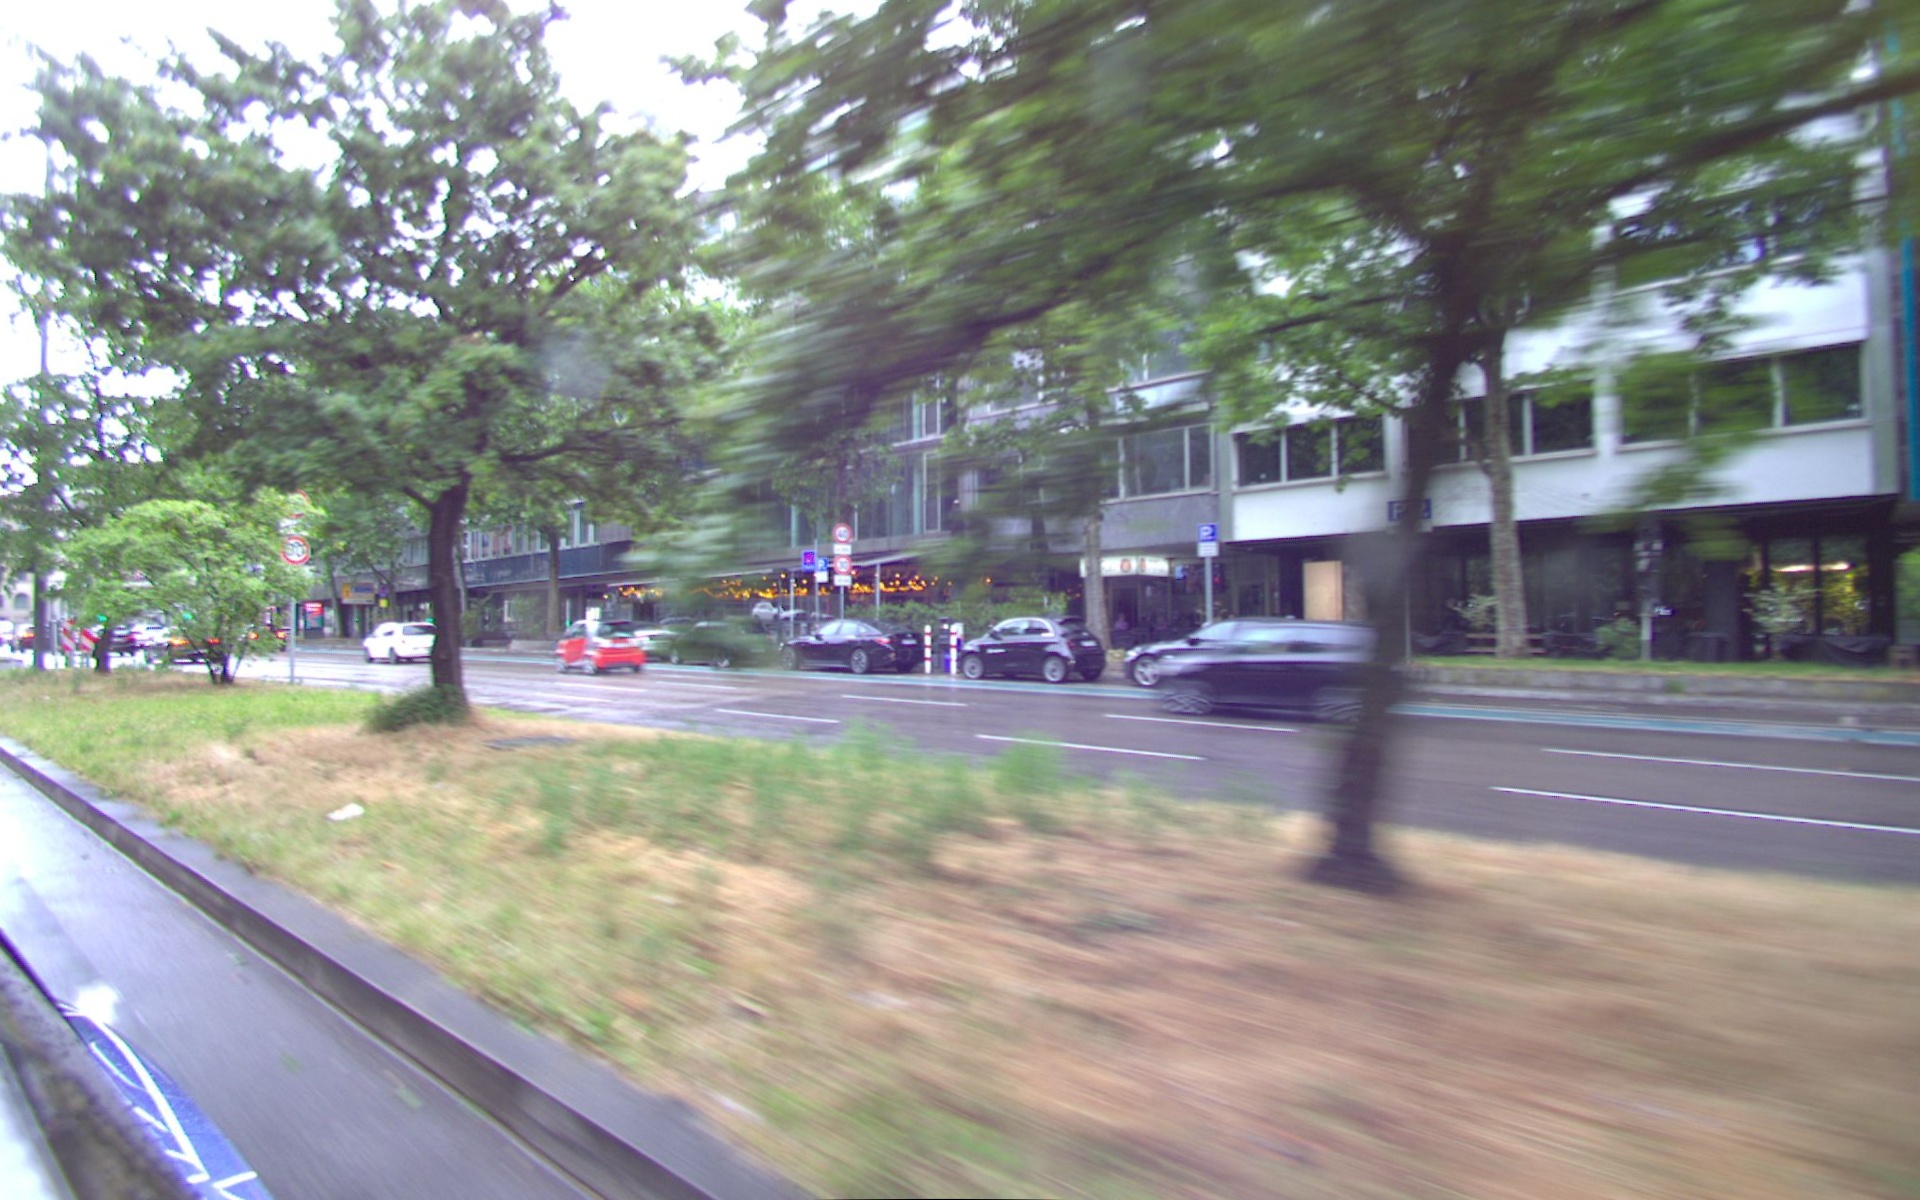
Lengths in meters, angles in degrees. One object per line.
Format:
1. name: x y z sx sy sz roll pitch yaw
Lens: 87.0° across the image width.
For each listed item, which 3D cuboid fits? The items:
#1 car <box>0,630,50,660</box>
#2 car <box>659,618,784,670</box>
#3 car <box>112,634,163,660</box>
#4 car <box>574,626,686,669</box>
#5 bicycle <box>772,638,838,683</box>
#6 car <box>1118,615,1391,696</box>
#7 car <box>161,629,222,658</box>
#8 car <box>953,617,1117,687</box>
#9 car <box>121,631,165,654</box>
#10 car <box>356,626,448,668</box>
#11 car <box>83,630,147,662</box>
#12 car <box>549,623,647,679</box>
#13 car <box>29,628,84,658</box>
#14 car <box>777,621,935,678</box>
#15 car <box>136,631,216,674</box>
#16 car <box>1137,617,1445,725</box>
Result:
1. car: -58.654 2.839 63.274 5.103 1.780 1.817 -2 -2 39
2. car: -7.479 1.370 31.571 3.997 1.519 1.818 -3 -2 41
3. car: -49.029 2.760 60.283 4.569 1.502 1.701 -2 -2 43
4. car: -11.576 1.657 35.349 4.680 1.364 1.543 -3 -2 41
5. bicycle: -3.985 1.527 25.974 1.815 1.112 0.701 -2 -3 42
6. car: 5.660 1.058 19.900 4.901 1.420 1.675 -3 -2 41
7. car: -40.148 2.246 52.831 4.094 1.487 1.731 -2 -2 41
8. car: 1.686 1.169 23.304 3.457 1.480 1.675 -3 -2 41
9. car: -58.361 2.997 72.273 3.996 1.577 1.735 -2 -2 40
10. car: -20.526 1.717 37.212 3.640 1.440 1.824 -3 -2 41
11. car: -40.501 2.169 48.478 4.094 1.487 1.731 -2 -2 41
12. car: -10.145 1.405 28.283 2.731 1.474 1.478 -2 -2 42
13. car: -50.472 2.407 56.480 4.829 1.585 1.716 -3 -2 41
14. car: -2.882 1.319 27.413 4.453 1.420 1.675 -3 -2 41
15. car: -30.709 2.024 39.616 4.094 1.487 1.730 -1 0 41
16. car: 4.877 0.984 15.201 3.997 1.400 1.824 -2 -2 41
